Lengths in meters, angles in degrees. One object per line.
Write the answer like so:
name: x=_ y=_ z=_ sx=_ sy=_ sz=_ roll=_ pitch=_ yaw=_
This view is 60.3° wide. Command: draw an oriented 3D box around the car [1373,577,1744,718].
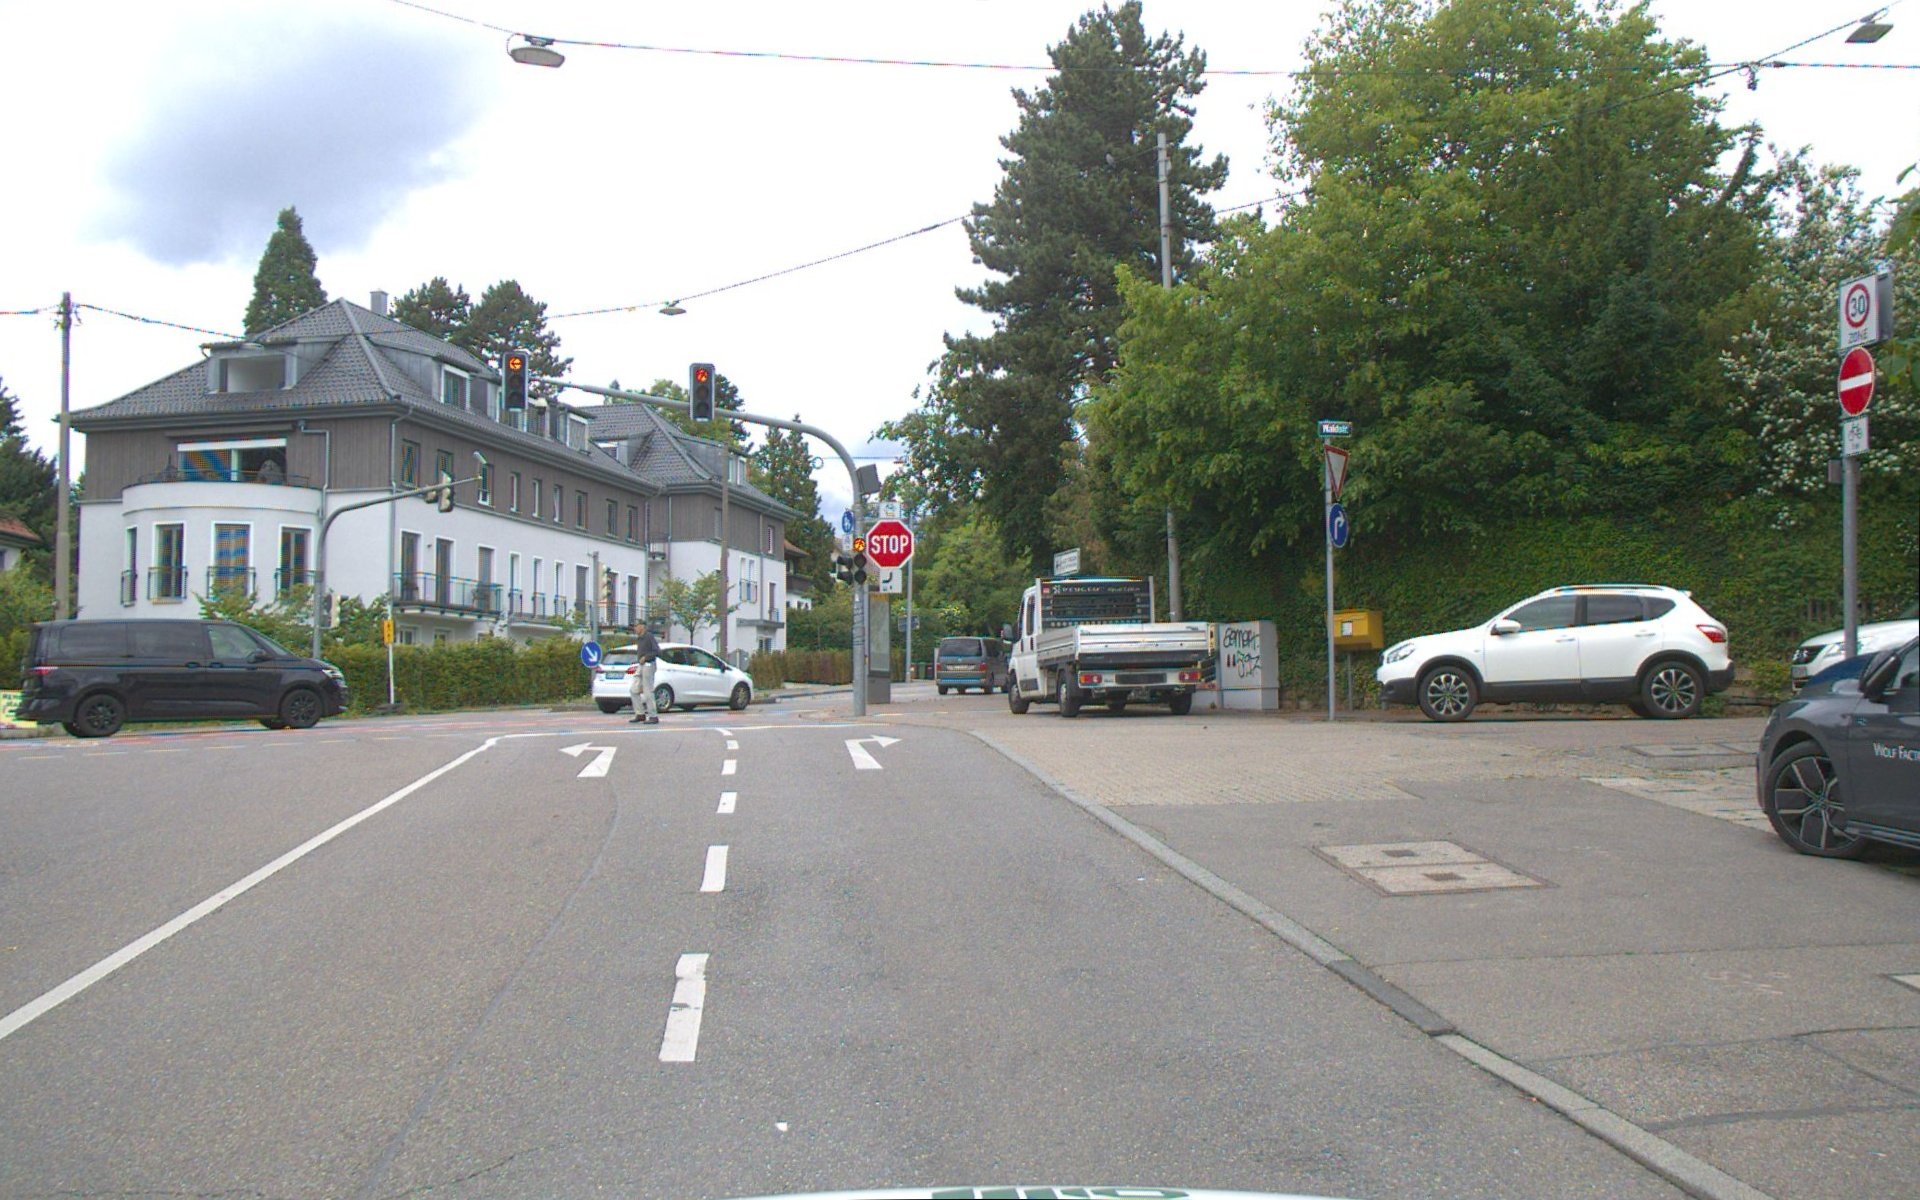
car: x=7.342 y=0.647 z=20.759 sx=4.150 sy=1.622 sz=1.989 roll=-1 pitch=-4 yaw=14

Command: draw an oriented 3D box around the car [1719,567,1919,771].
car: x=8.061 y=0.425 z=11.815 sx=4.401 sy=1.350 sz=1.837 roll=-2 pitch=-1 yaw=6

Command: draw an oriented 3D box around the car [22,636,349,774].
car: x=-12.768 y=1.694 z=27.418 sx=4.711 sy=2.049 sz=1.982 roll=2 pitch=0 yaw=-28

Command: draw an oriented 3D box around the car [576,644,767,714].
car: x=-6.178 y=1.666 z=35.754 sx=1.896 sy=1.407 sz=3.989 roll=-2 pitch=-2 yaw=32

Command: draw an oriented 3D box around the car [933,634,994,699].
car: x=0.081 y=2.273 z=57.852 sx=1.953 sy=2.049 sz=4.508 roll=0 pitch=0 yaw=-2

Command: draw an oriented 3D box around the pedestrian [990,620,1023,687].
pedestrian: x=1.433 y=1.644 z=50.942 sx=0.820 sy=2.049 sz=0.589 roll=-2 pitch=-2 yaw=19

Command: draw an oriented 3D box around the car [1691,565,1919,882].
car: x=5.452 y=0.549 z=7.751 sx=1.812 sy=1.498 sz=4.382 roll=-3 pitch=0 yaw=-4

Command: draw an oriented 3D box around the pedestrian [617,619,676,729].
pedestrian: x=-5.048 y=1.176 z=26.649 sx=0.693 sy=1.711 sz=0.676 roll=0 pitch=0 yaw=-38

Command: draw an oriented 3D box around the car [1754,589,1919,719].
car: x=11.939 y=0.636 z=19.784 sx=3.973 sy=1.492 sz=2.001 roll=0 pitch=-1 yaw=8

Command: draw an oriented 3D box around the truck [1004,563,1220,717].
truck: x=2.303 y=0.732 z=27.050 sx=2.143 sy=2.234 sz=5.868 roll=0 pitch=-3 yaw=-9
